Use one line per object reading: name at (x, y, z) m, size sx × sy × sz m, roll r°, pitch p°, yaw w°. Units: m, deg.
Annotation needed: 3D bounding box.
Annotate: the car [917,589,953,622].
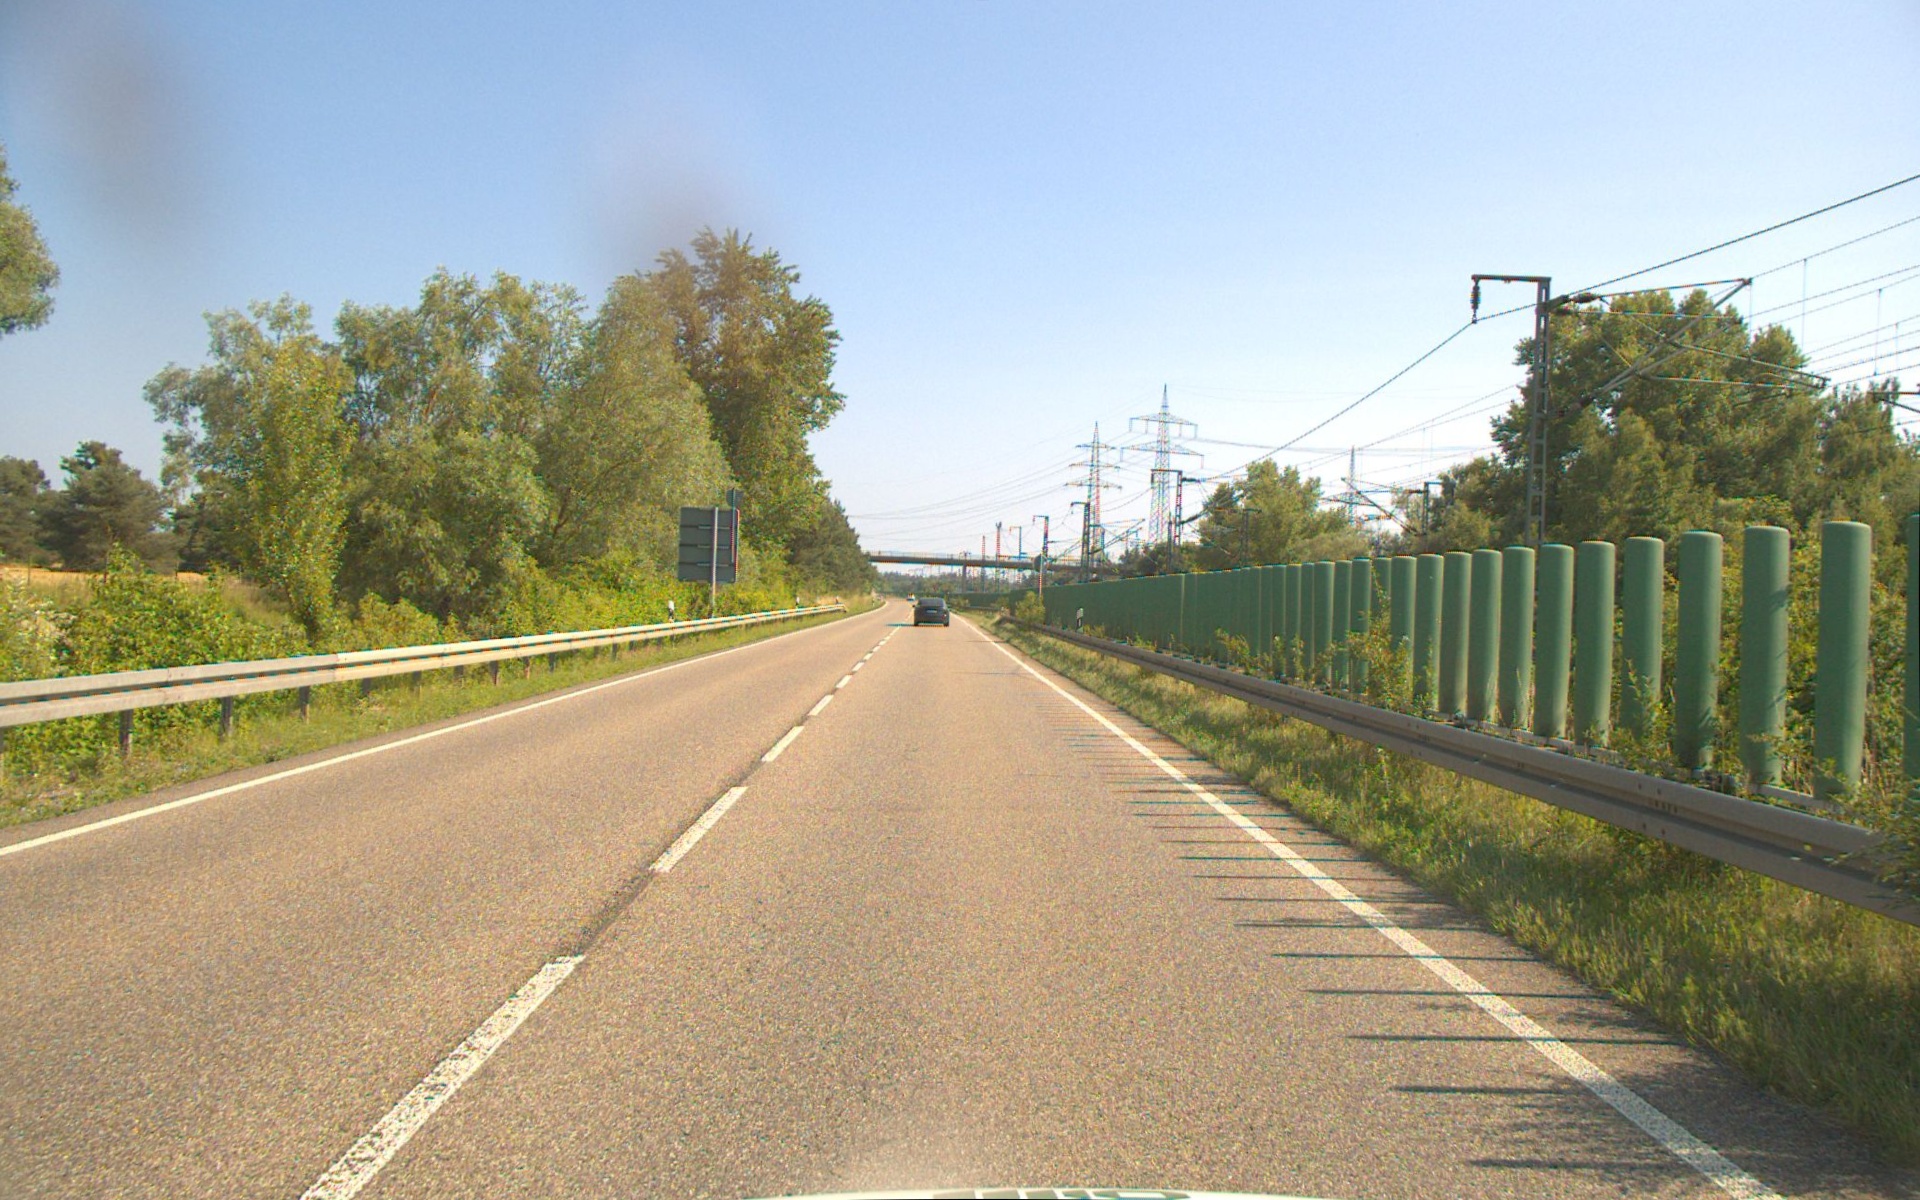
car at (-1.308, 0.266, 85.252) m, size 1.821 × 1.670 × 3.999 m, roll 0°, pitch 0°, yaw -2°
